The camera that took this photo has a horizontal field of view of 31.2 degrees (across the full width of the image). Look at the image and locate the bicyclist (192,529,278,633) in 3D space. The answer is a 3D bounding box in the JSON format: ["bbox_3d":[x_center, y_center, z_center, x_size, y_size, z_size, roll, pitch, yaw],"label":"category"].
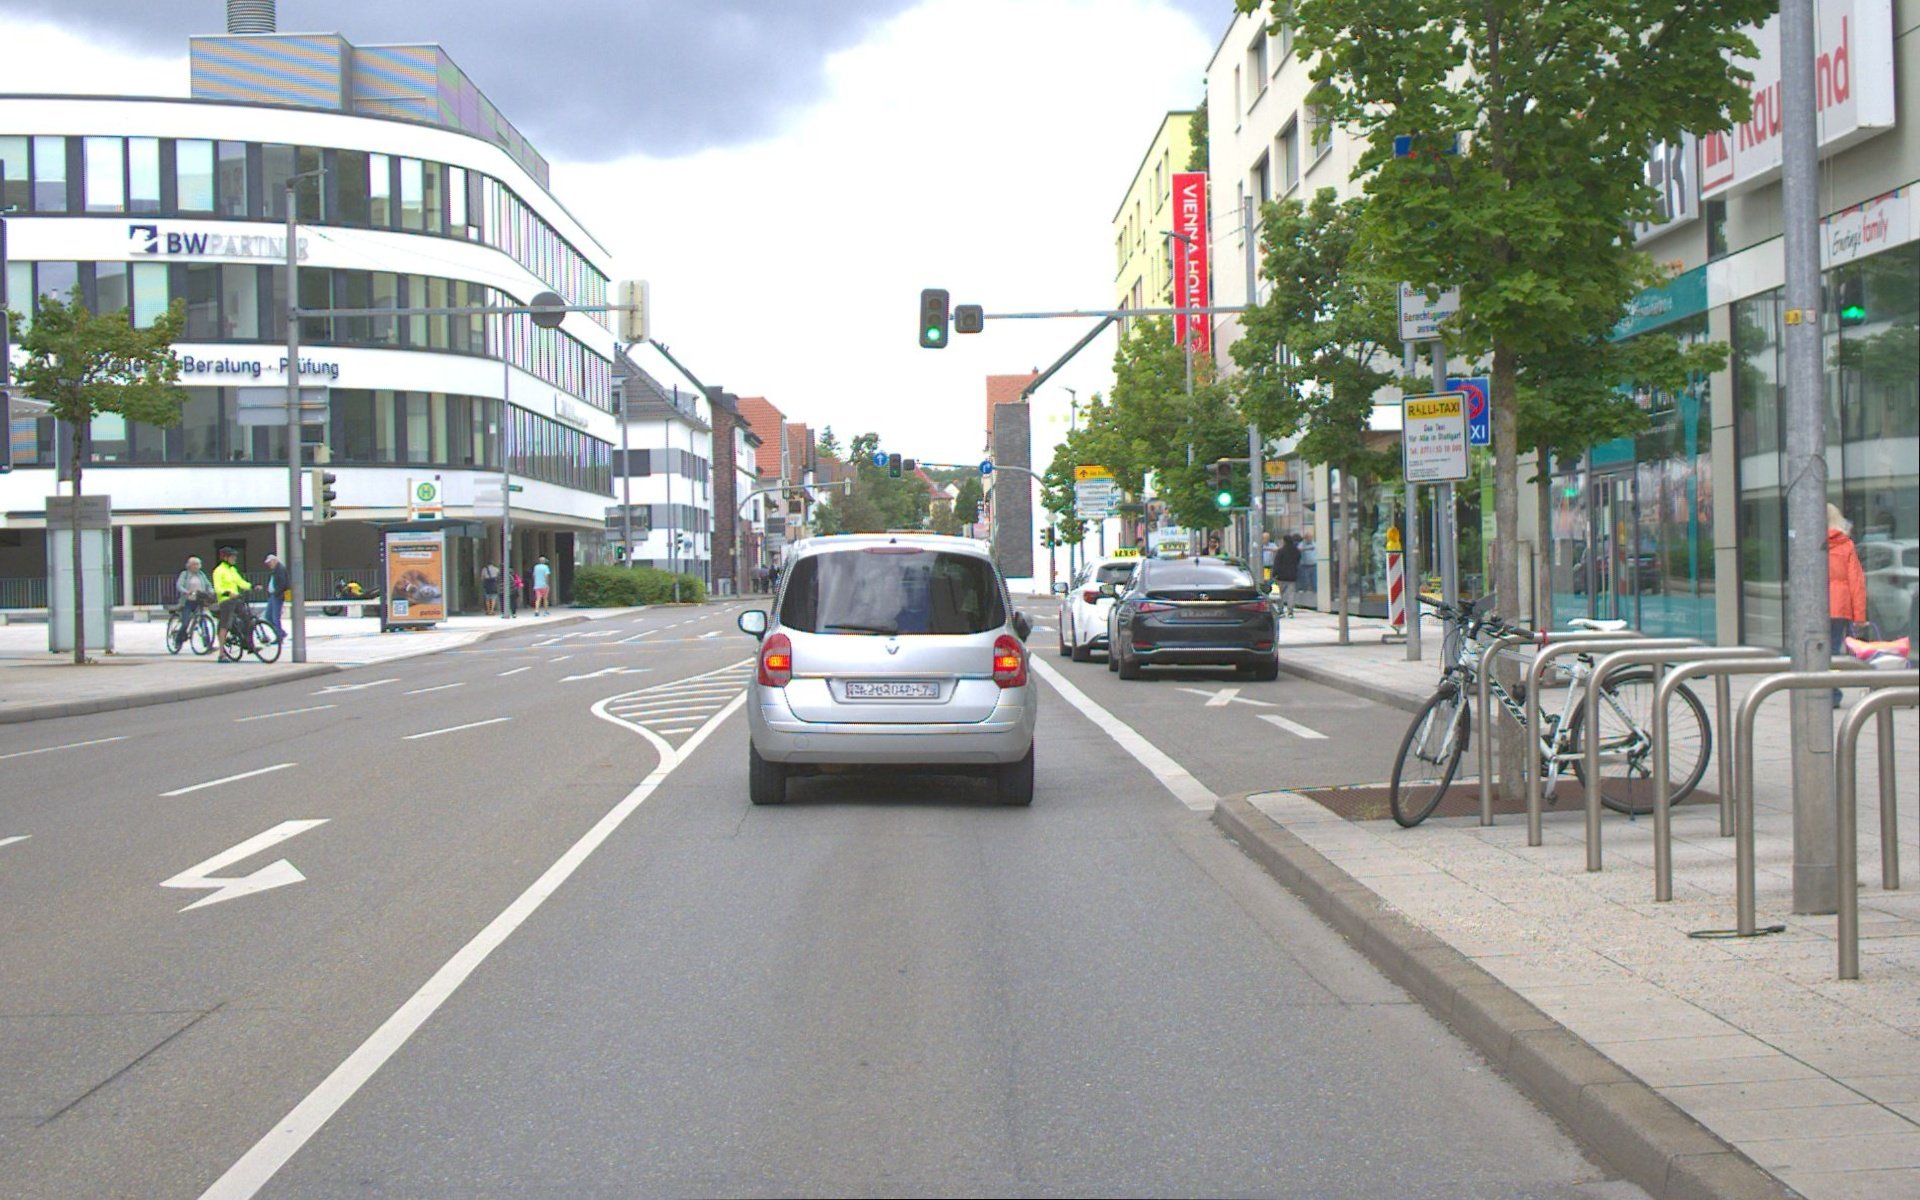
[{"bbox_3d":[-11.629,-0.308,55.167,1.006,1.655,0.932,1,1,-41],"label":"bicyclist"}]

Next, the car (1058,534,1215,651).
[{"bbox_3d":[2.371,-0.131,47.177,1.877,1.503,4.000,1,1,-1],"label":"car"}]

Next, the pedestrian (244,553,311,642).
[{"bbox_3d":[-14.476,-0.053,72.955,1.246,1.827,0.964,-2,1,-6],"label":"pedestrian"}]

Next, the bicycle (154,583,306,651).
[{"bbox_3d":[-11.769,0.258,55.317,1.006,1.015,3.129,1,1,-41],"label":"bicycle"}]

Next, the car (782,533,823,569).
[{"bbox_3d":[-9.189,-2.867,200.560,2.170,2.007,4.258,-2,1,-1],"label":"car"}]

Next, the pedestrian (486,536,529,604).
[{"bbox_3d":[-12.254,-0.819,93.135,0.960,1.827,1.251,-2,1,-1],"label":"pedestrian"}]

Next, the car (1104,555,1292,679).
[{"bbox_3d":[2.764,0.167,40.722,1.877,1.330,4.000,1,1,-1],"label":"car"}]

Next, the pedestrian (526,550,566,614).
[{"bbox_3d":[-12.089,-0.528,100.406,0.960,1.827,1.251,-2,1,-1],"label":"pedestrian"}]

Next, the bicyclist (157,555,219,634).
[{"bbox_3d":[-13.272,-0.101,59.094,0.827,1.322,0.652,-2,1,-33],"label":"bicyclist"}]

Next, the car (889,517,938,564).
[{"bbox_3d":[-2.094,-2.702,155.198,2.170,2.007,4.258,-2,1,-1],"label":"car"}]

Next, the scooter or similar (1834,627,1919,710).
[{"bbox_3d":[6.805,0.500,25.293,0.550,0.544,0.642,-4,1,-1],"label":"scooter or similar"}]

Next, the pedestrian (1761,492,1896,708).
[{"bbox_3d":[6.595,-0.011,26.147,0.710,1.569,0.812,-4,1,-1],"label":"pedestrian"}]

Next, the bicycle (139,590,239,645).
[{"bbox_3d":[-13.271,0.294,59.106,0.827,0.895,2.525,-2,1,-33],"label":"bicycle"}]

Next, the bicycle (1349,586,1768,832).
[{"bbox_3d":[2.848,0.508,16.485,1.825,1.071,0.752,-2,1,-2],"label":"bicycle"}]

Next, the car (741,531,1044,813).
[{"bbox_3d":[-0.479,0.366,21.002,1.669,1.549,3.643,1,1,-3],"label":"car"}]
